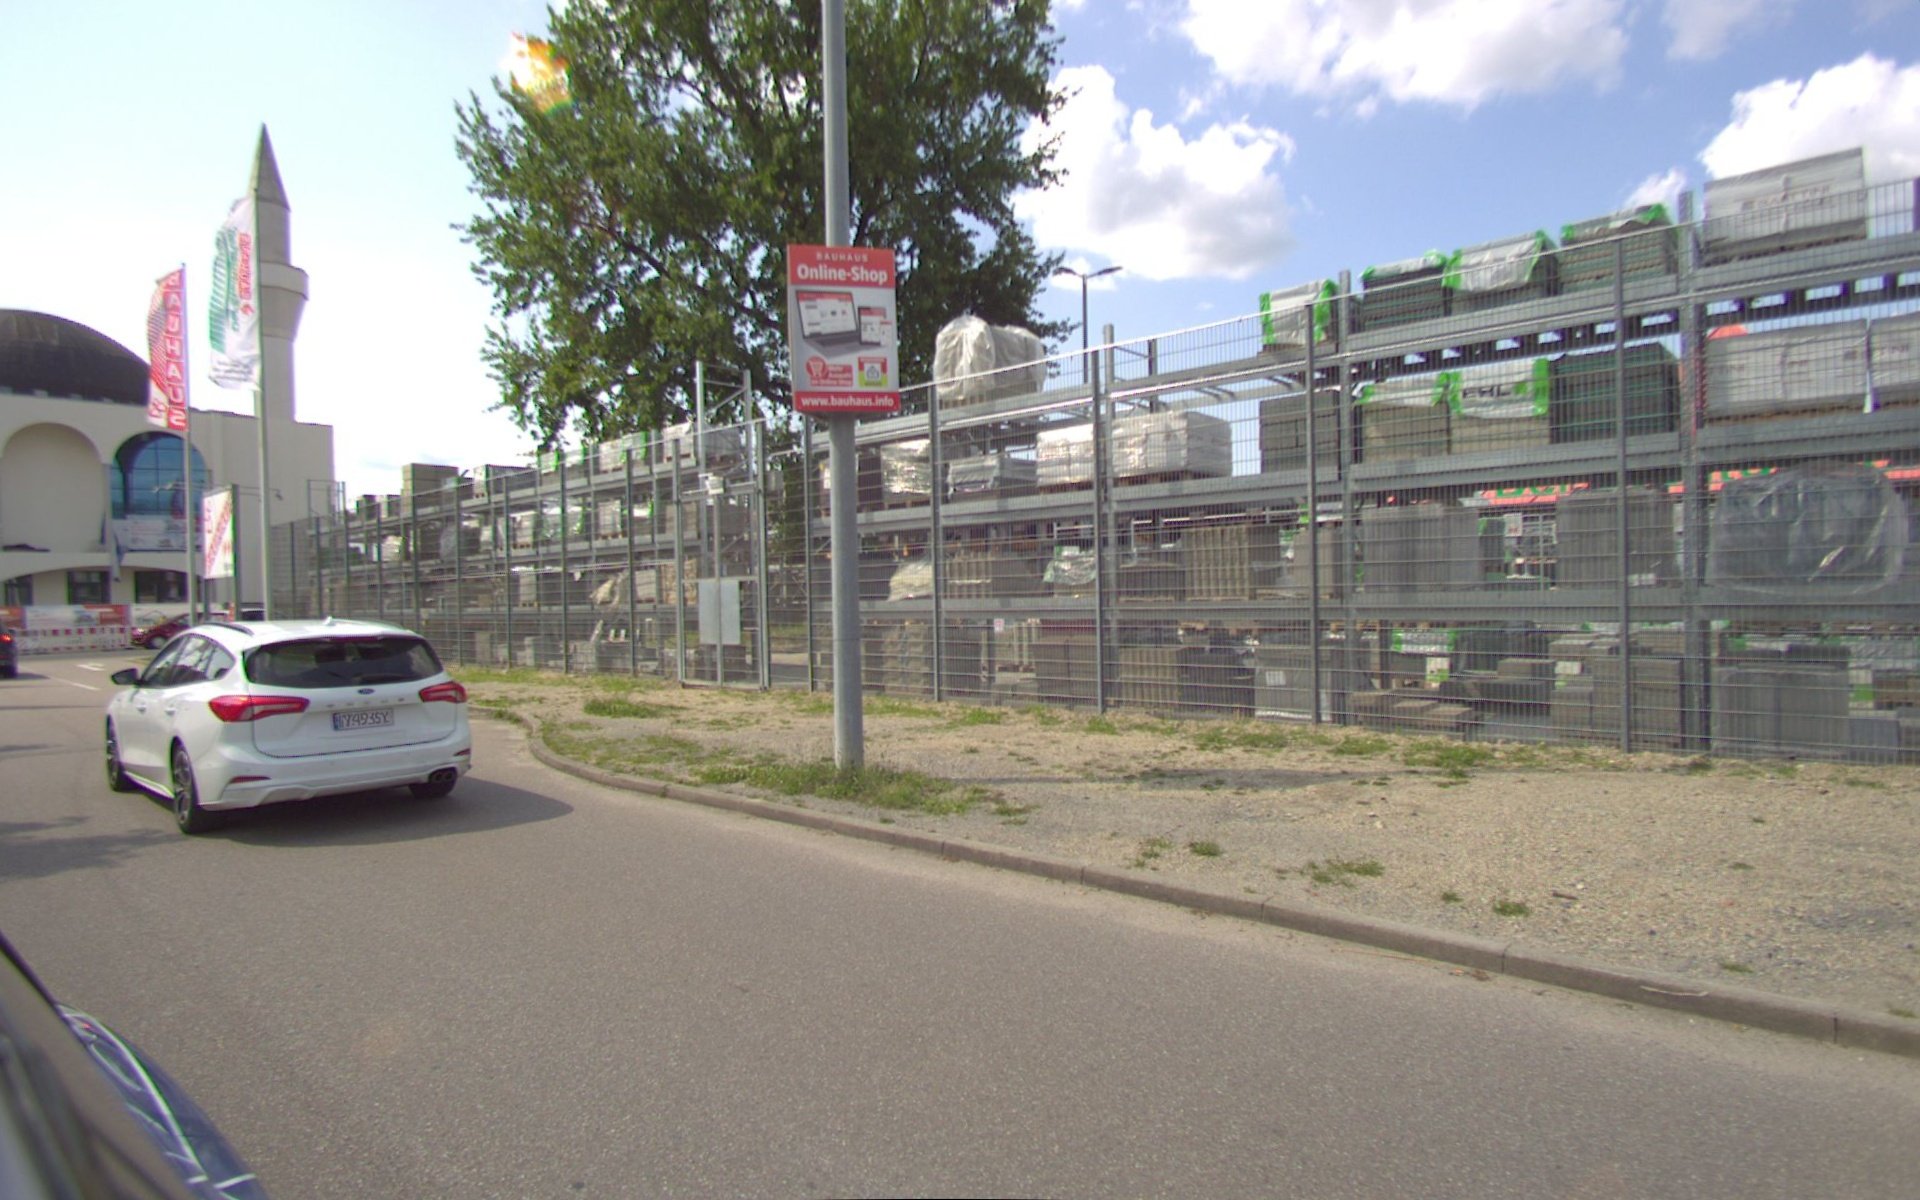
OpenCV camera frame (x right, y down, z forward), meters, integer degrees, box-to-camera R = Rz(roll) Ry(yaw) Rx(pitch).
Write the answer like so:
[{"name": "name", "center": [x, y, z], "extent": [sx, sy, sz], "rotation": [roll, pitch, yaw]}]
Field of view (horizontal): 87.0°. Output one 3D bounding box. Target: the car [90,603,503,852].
[{"name": "car", "center": [-5.585, 0.817, 8.274], "extent": [4.328, 1.475, 1.784], "rotation": [-2, 0, 42]}]

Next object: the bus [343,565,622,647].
[{"name": "bus", "center": [-21.678, 0.154, 46.876], "extent": [2.893, 3.389, 11.407], "rotation": [-1, 0, 42]}]

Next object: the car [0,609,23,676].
[{"name": "car", "center": [-25.424, 1.092, 25.708], "extent": [4.371, 1.630, 1.895], "rotation": [-2, -1, 41]}]

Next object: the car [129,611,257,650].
[{"name": "car", "center": [-32.981, 1.277, 43.608], "extent": [1.792, 1.521, 4.135], "rotation": [-1, 0, 42]}]

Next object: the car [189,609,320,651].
[{"name": "car", "center": [-29.152, 1.211, 41.979], "extent": [1.713, 1.576, 4.175], "rotation": [-1, 0, 24]}]
